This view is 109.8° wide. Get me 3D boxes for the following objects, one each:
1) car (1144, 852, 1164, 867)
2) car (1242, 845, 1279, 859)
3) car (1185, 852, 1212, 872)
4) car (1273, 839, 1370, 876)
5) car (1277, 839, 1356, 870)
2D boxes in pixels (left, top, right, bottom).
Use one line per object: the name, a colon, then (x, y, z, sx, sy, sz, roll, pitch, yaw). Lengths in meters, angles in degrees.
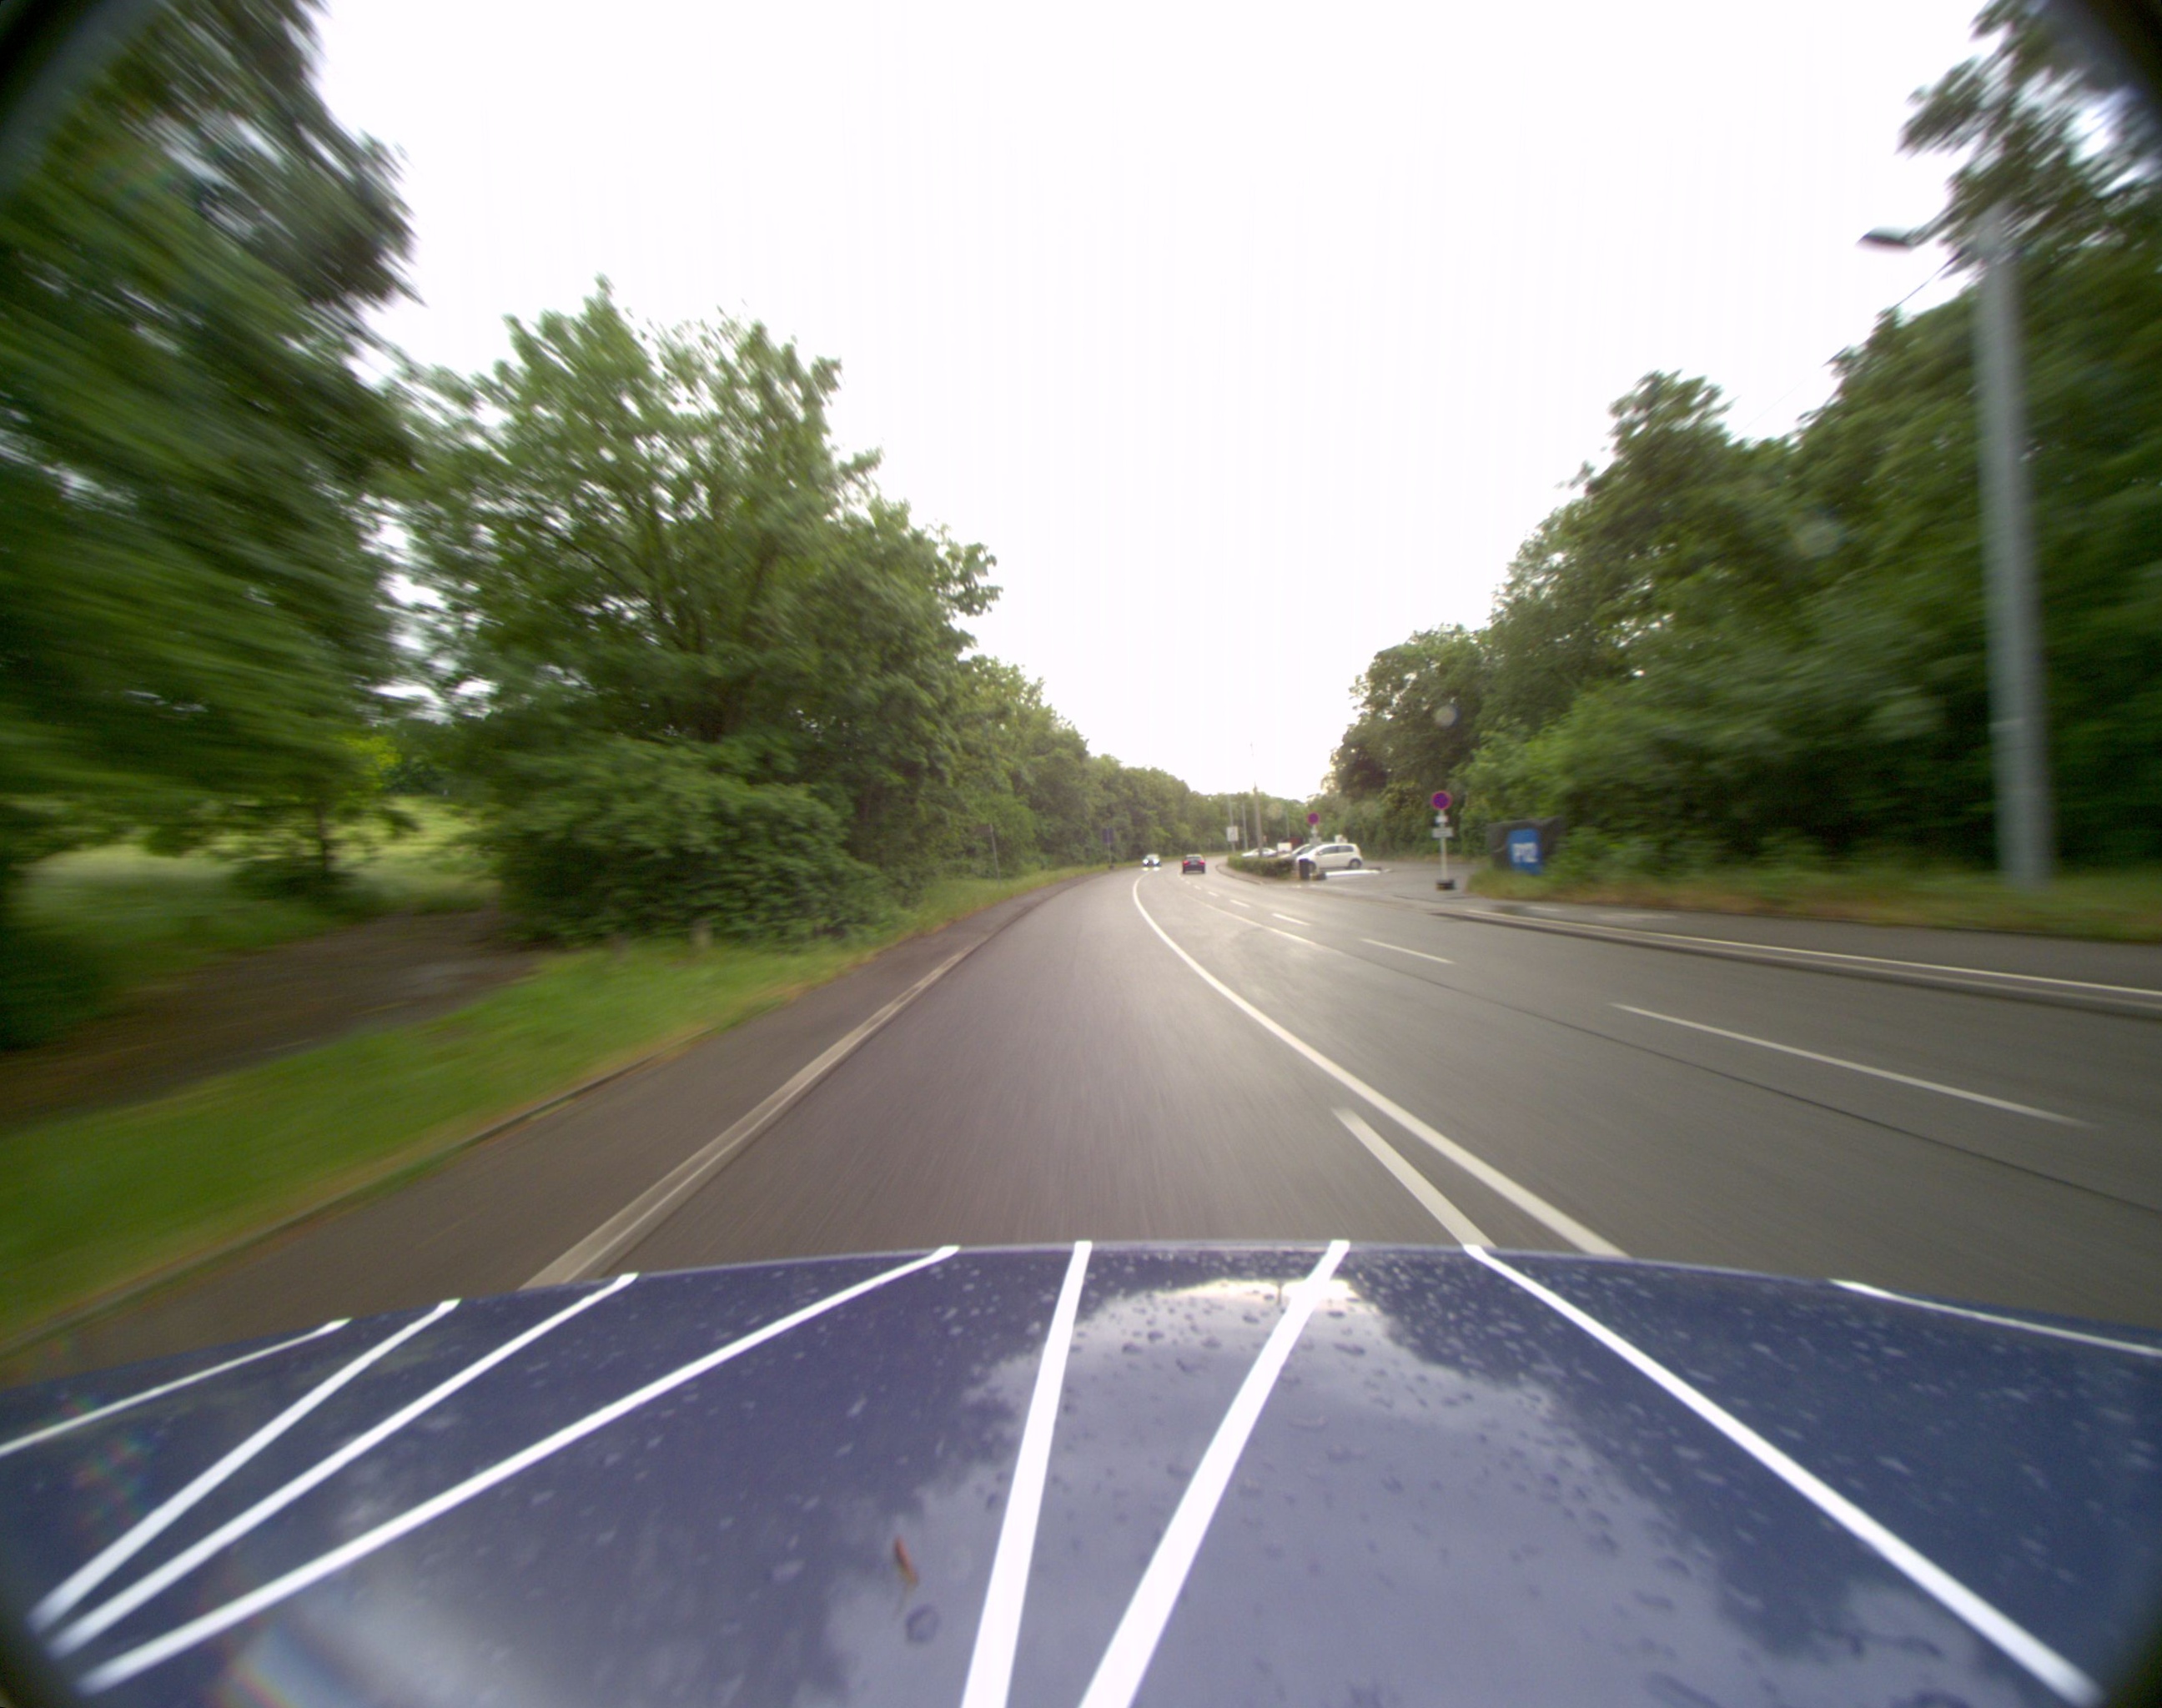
car: (8.455, 0.621, 87.413, 1.997, 1.577, 4.002, -2, 1, 9)
car: (22.073, -0.257, 93.432, 4.206, 1.475, 1.908, -2, 0, 5)
car: (9.308, 0.581, 59.966, 1.855, 1.464, 3.916, -1, 0, 11)
car: (13.239, 0.171, 42.020, 4.752, 1.707, 1.895, -4, 1, 5)
car: (14.675, 0.035, 47.558, 4.379, 1.592, 1.756, -4, 1, 7)
